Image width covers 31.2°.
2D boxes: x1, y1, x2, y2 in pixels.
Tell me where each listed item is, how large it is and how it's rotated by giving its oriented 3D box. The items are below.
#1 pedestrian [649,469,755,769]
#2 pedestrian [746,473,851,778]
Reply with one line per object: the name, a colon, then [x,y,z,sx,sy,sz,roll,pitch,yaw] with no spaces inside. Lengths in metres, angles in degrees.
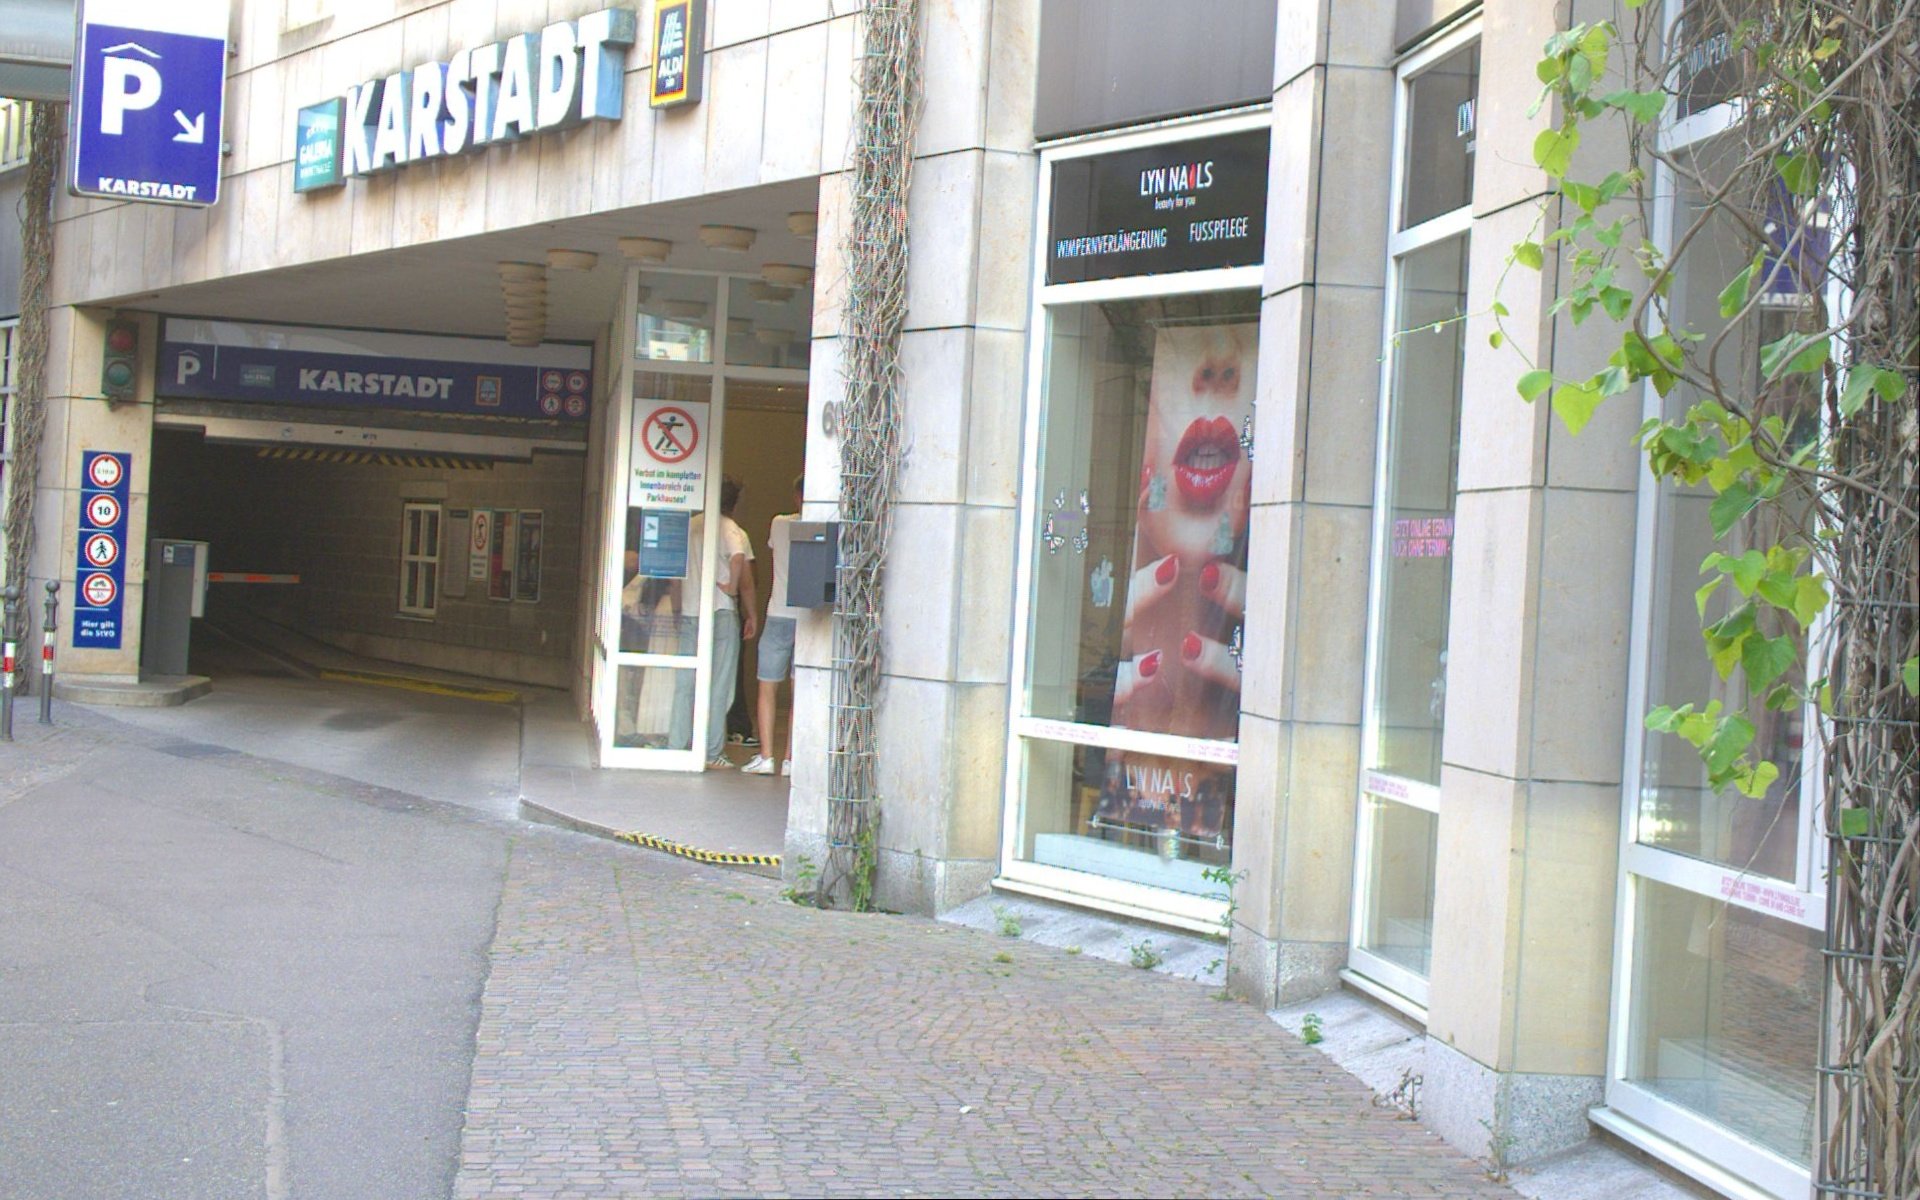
pedestrian: [-1.613,0.114,21.548,0.542,1.840,0.408,3,1,-1]
pedestrian: [-1.001,0.151,21.382,0.542,1.855,0.408,3,1,-1]
